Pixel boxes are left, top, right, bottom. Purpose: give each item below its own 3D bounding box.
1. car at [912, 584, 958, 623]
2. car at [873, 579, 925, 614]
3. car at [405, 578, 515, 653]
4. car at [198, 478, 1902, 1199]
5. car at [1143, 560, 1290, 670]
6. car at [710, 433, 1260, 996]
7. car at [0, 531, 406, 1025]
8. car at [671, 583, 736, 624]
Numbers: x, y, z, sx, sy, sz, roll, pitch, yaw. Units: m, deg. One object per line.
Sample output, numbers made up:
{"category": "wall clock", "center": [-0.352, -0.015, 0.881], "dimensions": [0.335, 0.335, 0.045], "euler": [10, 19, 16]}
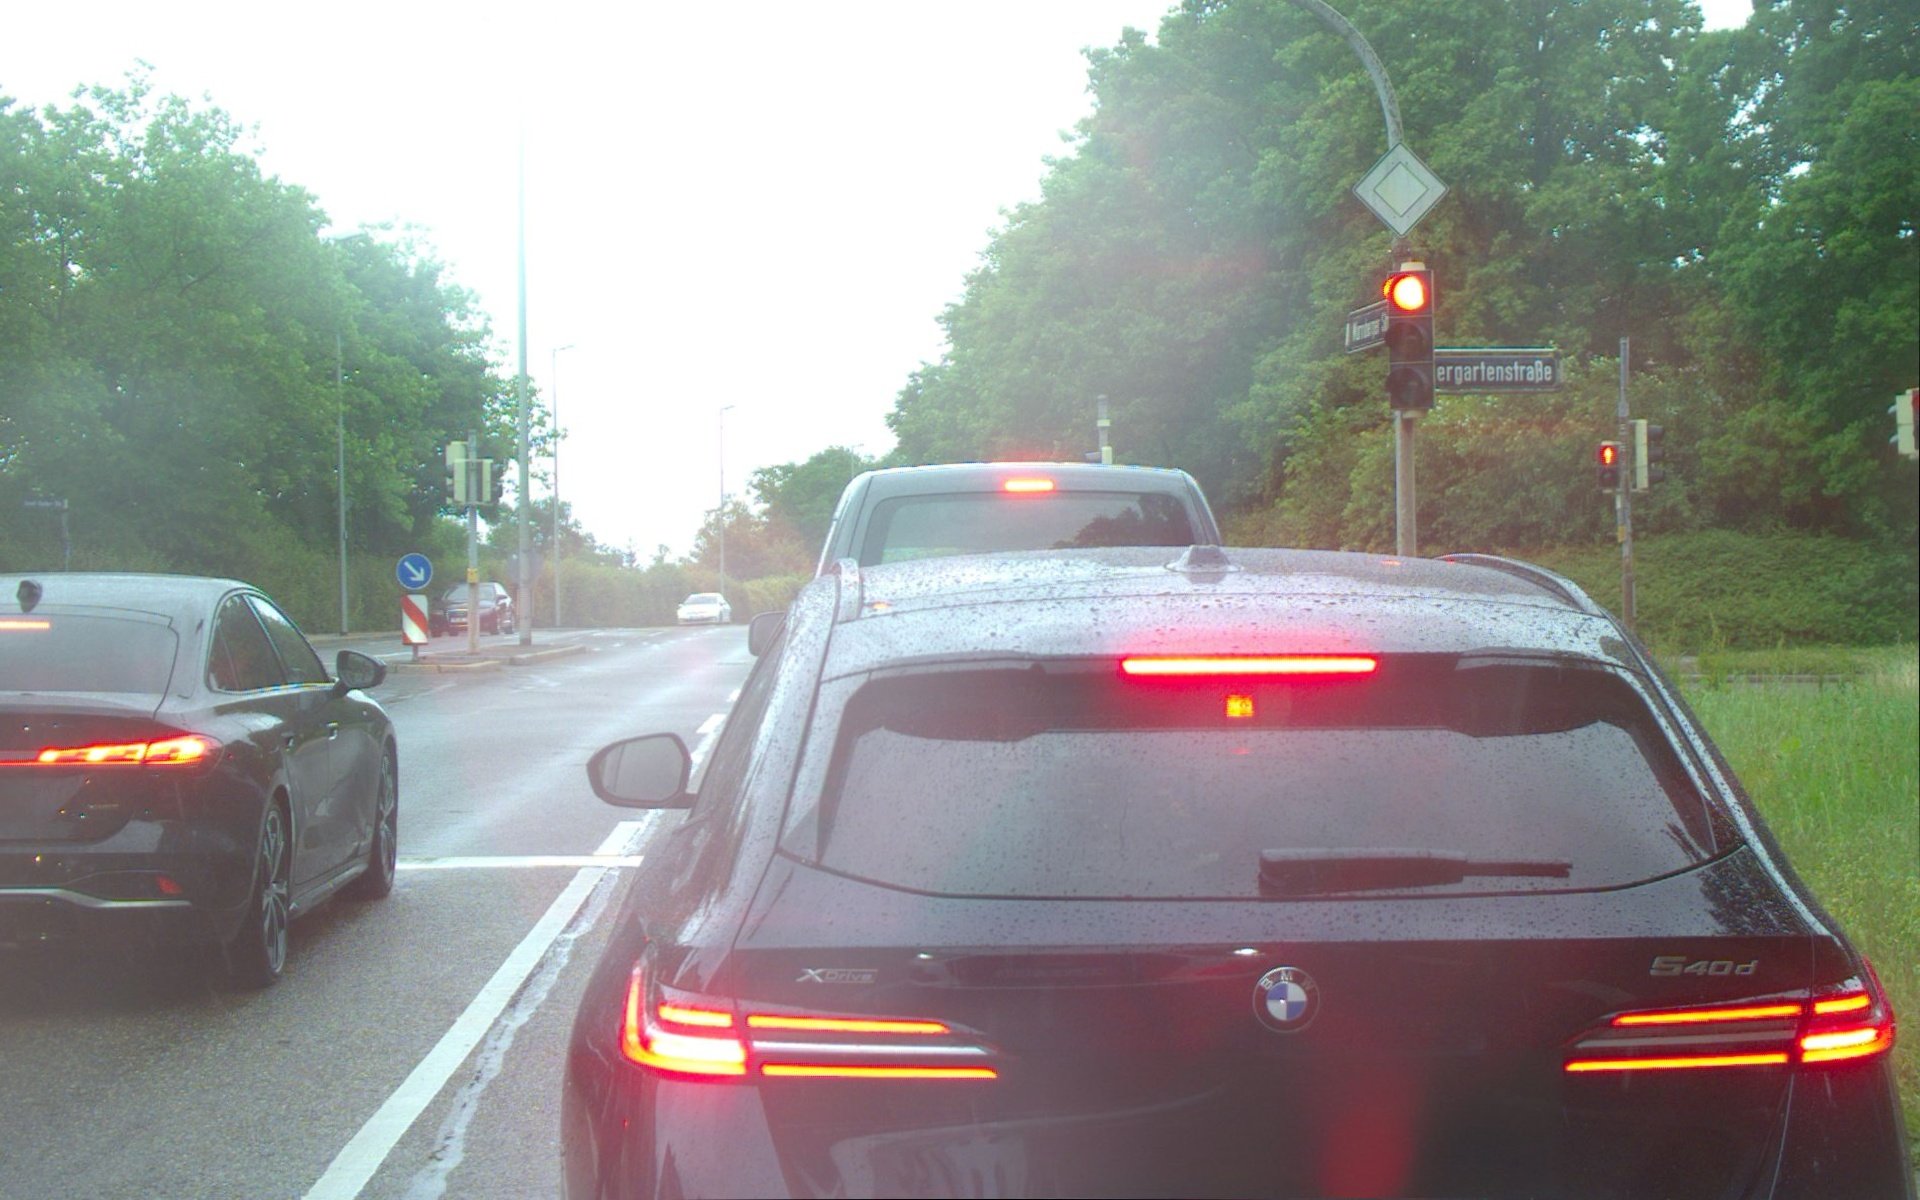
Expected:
{"category": "car", "center": [-0.956, 0.138, 133.907], "dimensions": [1.697, 1.422, 3.514], "euler": [-2, 0, 0]}
{"category": "car", "center": [-3.238, -0.183, 182.538], "dimensions": [2.106, 1.759, 4.867], "euler": [-2, 0, 6]}
{"category": "car", "center": [-13.023, 0.382, 89.775], "dimensions": [1.994, 1.820, 4.000], "euler": [-2, 0, 3]}
{"category": "car", "center": [0.205, 0.647, 6.142], "dimensions": [1.898, 1.546, 4.614], "euler": [0, 0, 3]}
{"category": "car", "center": [3.872, 0.204, 52.446], "dimensions": [1.873, 1.537, 3.952], "euler": [-2, 0, 0]}
{"category": "car", "center": [0.079, 0.365, 13.378], "dimensions": [1.818, 1.862, 3.952], "euler": [0, 0, 0]}
{"category": "car", "center": [-3.373, 0.572, 12.948], "dimensions": [1.993, 1.522, 4.328], "euler": [-2, 0, -3]}
{"category": "car", "center": [-10.721, 0.121, 143.995], "dimensions": [1.994, 1.605, 3.671], "euler": [-2, 0, 6]}
